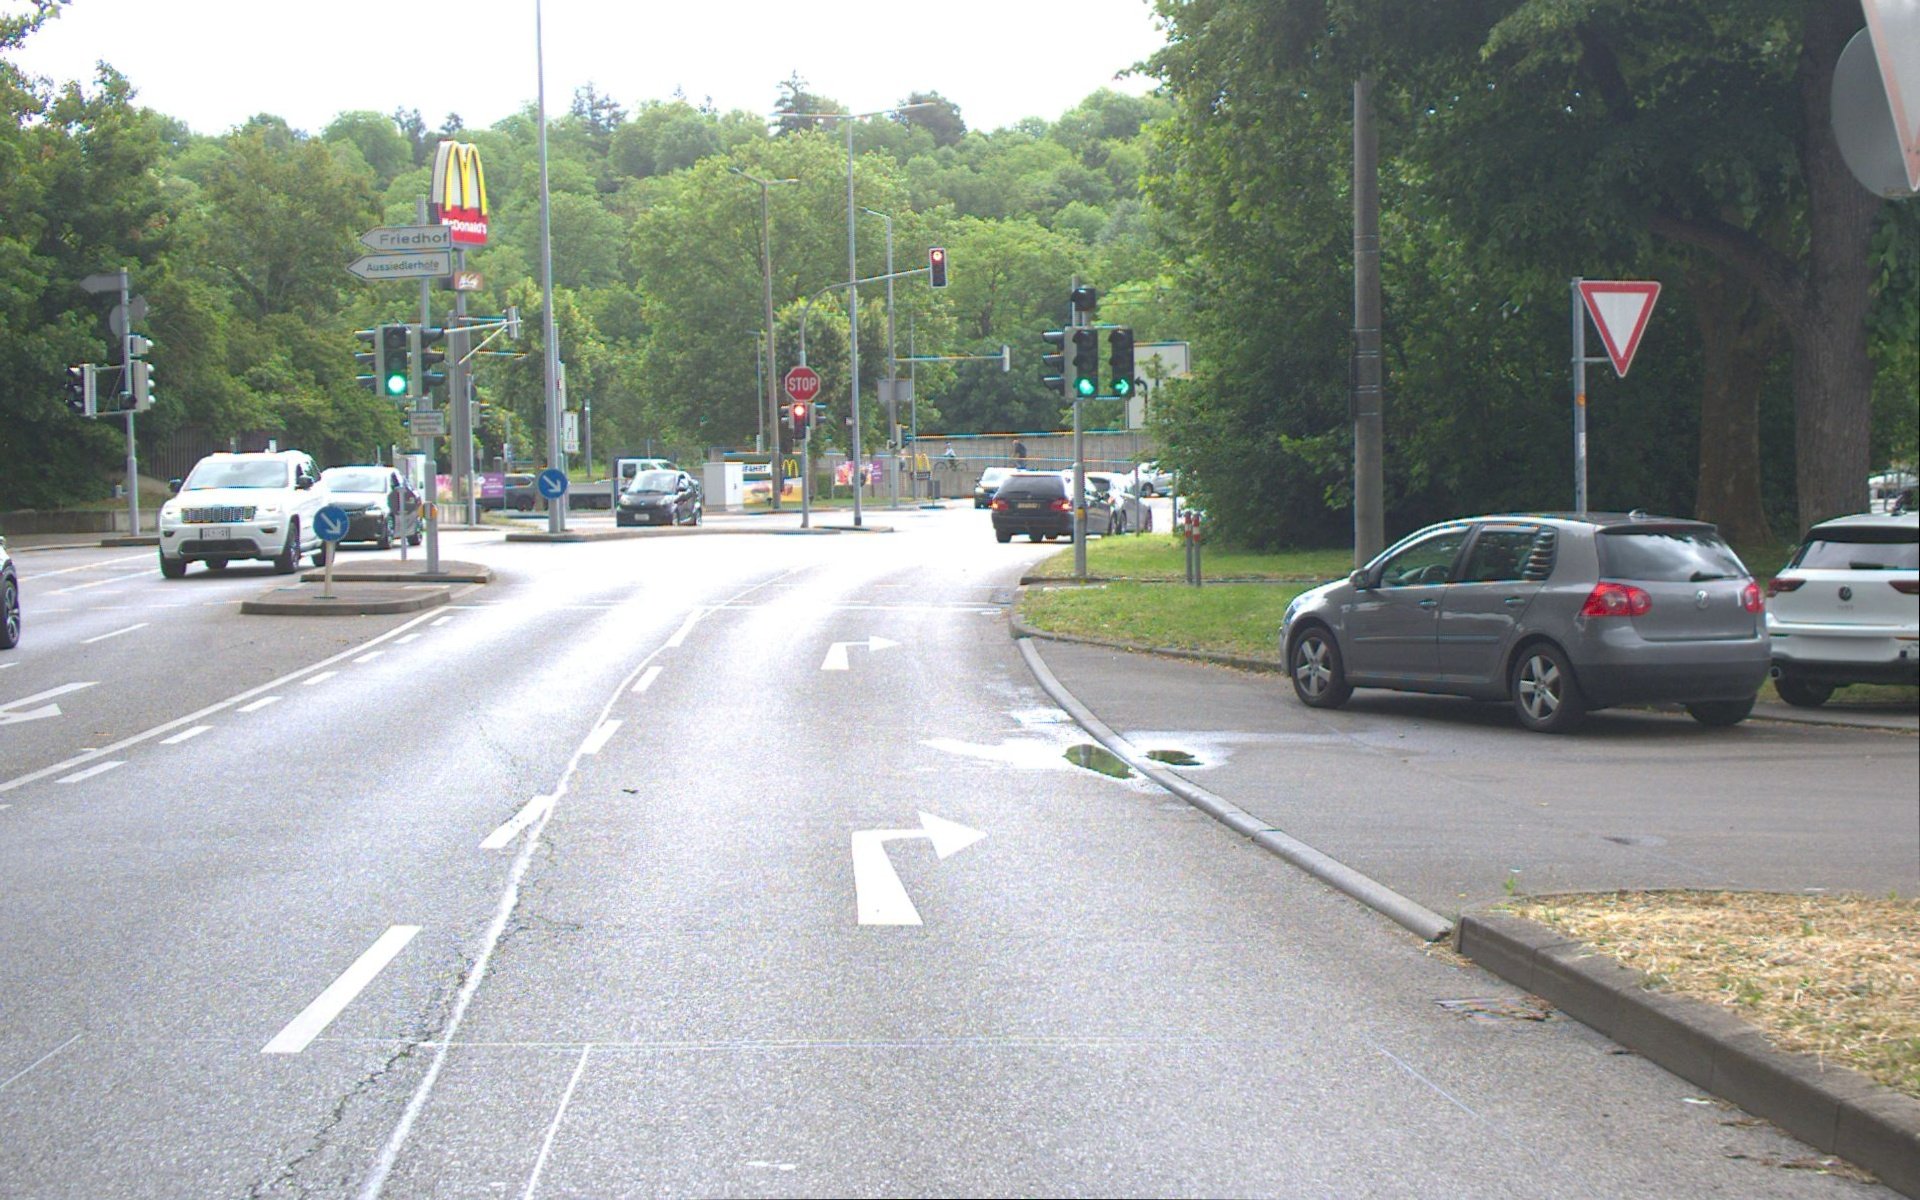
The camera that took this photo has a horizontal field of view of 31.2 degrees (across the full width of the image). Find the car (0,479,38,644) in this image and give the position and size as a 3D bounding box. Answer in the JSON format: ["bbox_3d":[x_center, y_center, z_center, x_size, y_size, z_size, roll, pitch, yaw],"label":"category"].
[{"bbox_3d":[-10.263,-0.273,32.765,1.796,1.581,4.416,-4,3,-2],"label":"car"}]

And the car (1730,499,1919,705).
[{"bbox_3d":[7.692,-0.056,25.548,4.250,1.376,1.764,-3,3,-43],"label":"car"}]

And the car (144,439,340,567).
[{"bbox_3d":[-10.570,-1.479,50.935,1.911,1.757,4.753,-2,3,-1],"label":"car"}]

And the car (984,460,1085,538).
[{"bbox_3d":[1.576,-2.105,71.160,1.822,1.504,4.574,-1,2,4],"label":"car"}]

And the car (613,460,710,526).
[{"bbox_3d":[-7.433,-2.679,85.814,1.569,1.521,3.188,-1,3,11],"label":"car"}]

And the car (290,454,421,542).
[{"bbox_3d":[-10.780,-1.841,61.491,1.568,1.377,3.950,-2,4,0],"label":"car"}]

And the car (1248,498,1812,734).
[{"bbox_3d":[3.958,0.037,24.532,1.728,1.424,4.113,-2,4,-30],"label":"car"}]
